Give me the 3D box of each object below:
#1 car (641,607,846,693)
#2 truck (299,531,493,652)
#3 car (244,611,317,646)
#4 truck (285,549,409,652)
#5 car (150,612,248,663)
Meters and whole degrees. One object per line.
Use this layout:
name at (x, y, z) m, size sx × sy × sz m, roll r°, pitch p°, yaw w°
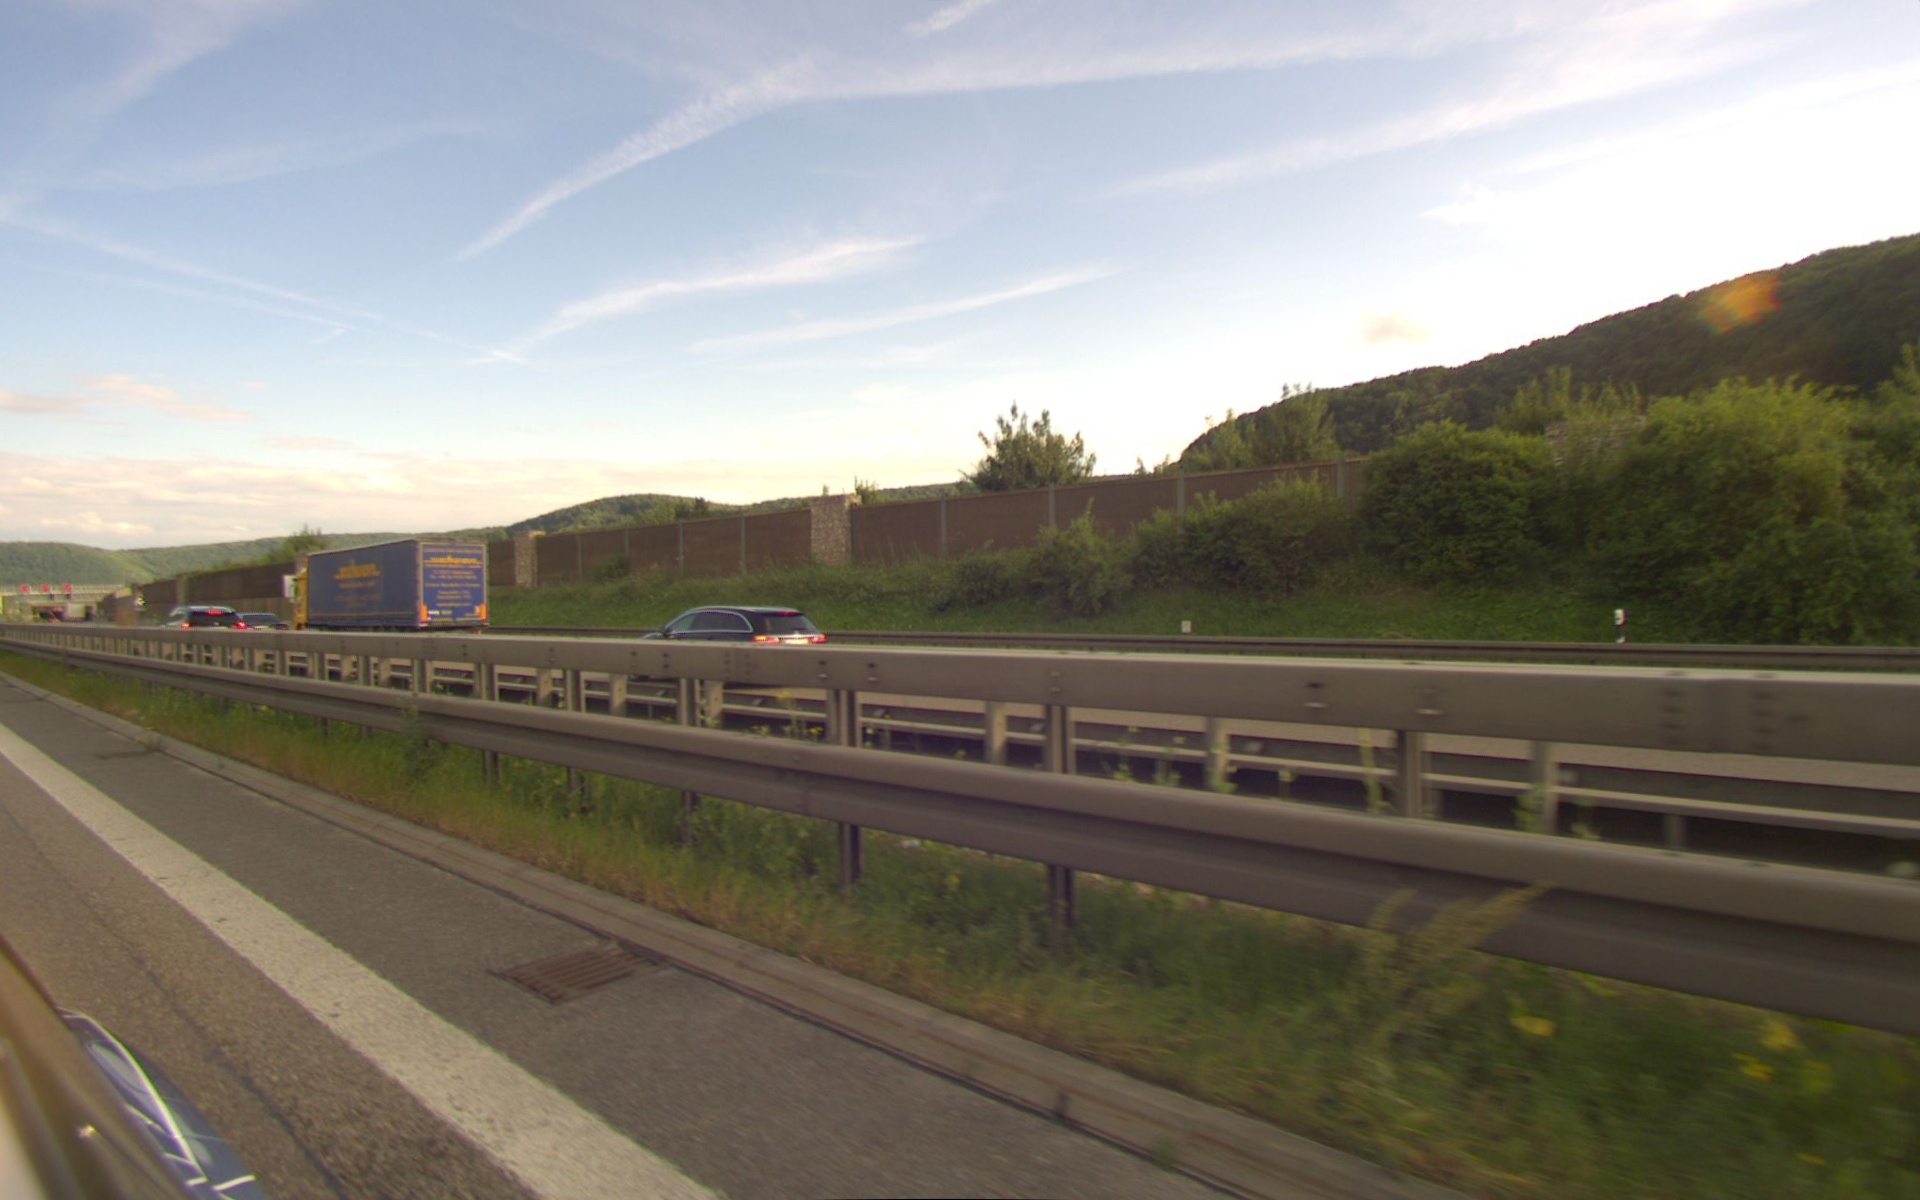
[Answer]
car at (-4.075, 0.858, 18.687) m, size 3.998 × 1.407 × 1.666 m, roll -1°, pitch -1°, yaw 41°
truck at (-23.898, -0.197, 42.193) m, size 14.677 × 4.311 × 2.621 m, roll -1°, pitch -1°, yaw 43°
car at (-29.233, 1.215, 43.479) m, size 3.998 × 1.407 × 1.666 m, roll -1°, pitch -1°, yaw 41°
truck at (-27.790, 0.078, 45.686) m, size 8.166 × 4.292 × 2.621 m, roll -1°, pitch -1°, yaw 43°
car at (-23.568, 1.125, 31.290) m, size 3.998 × 1.470 × 1.666 m, roll -1°, pitch -1°, yaw 41°
